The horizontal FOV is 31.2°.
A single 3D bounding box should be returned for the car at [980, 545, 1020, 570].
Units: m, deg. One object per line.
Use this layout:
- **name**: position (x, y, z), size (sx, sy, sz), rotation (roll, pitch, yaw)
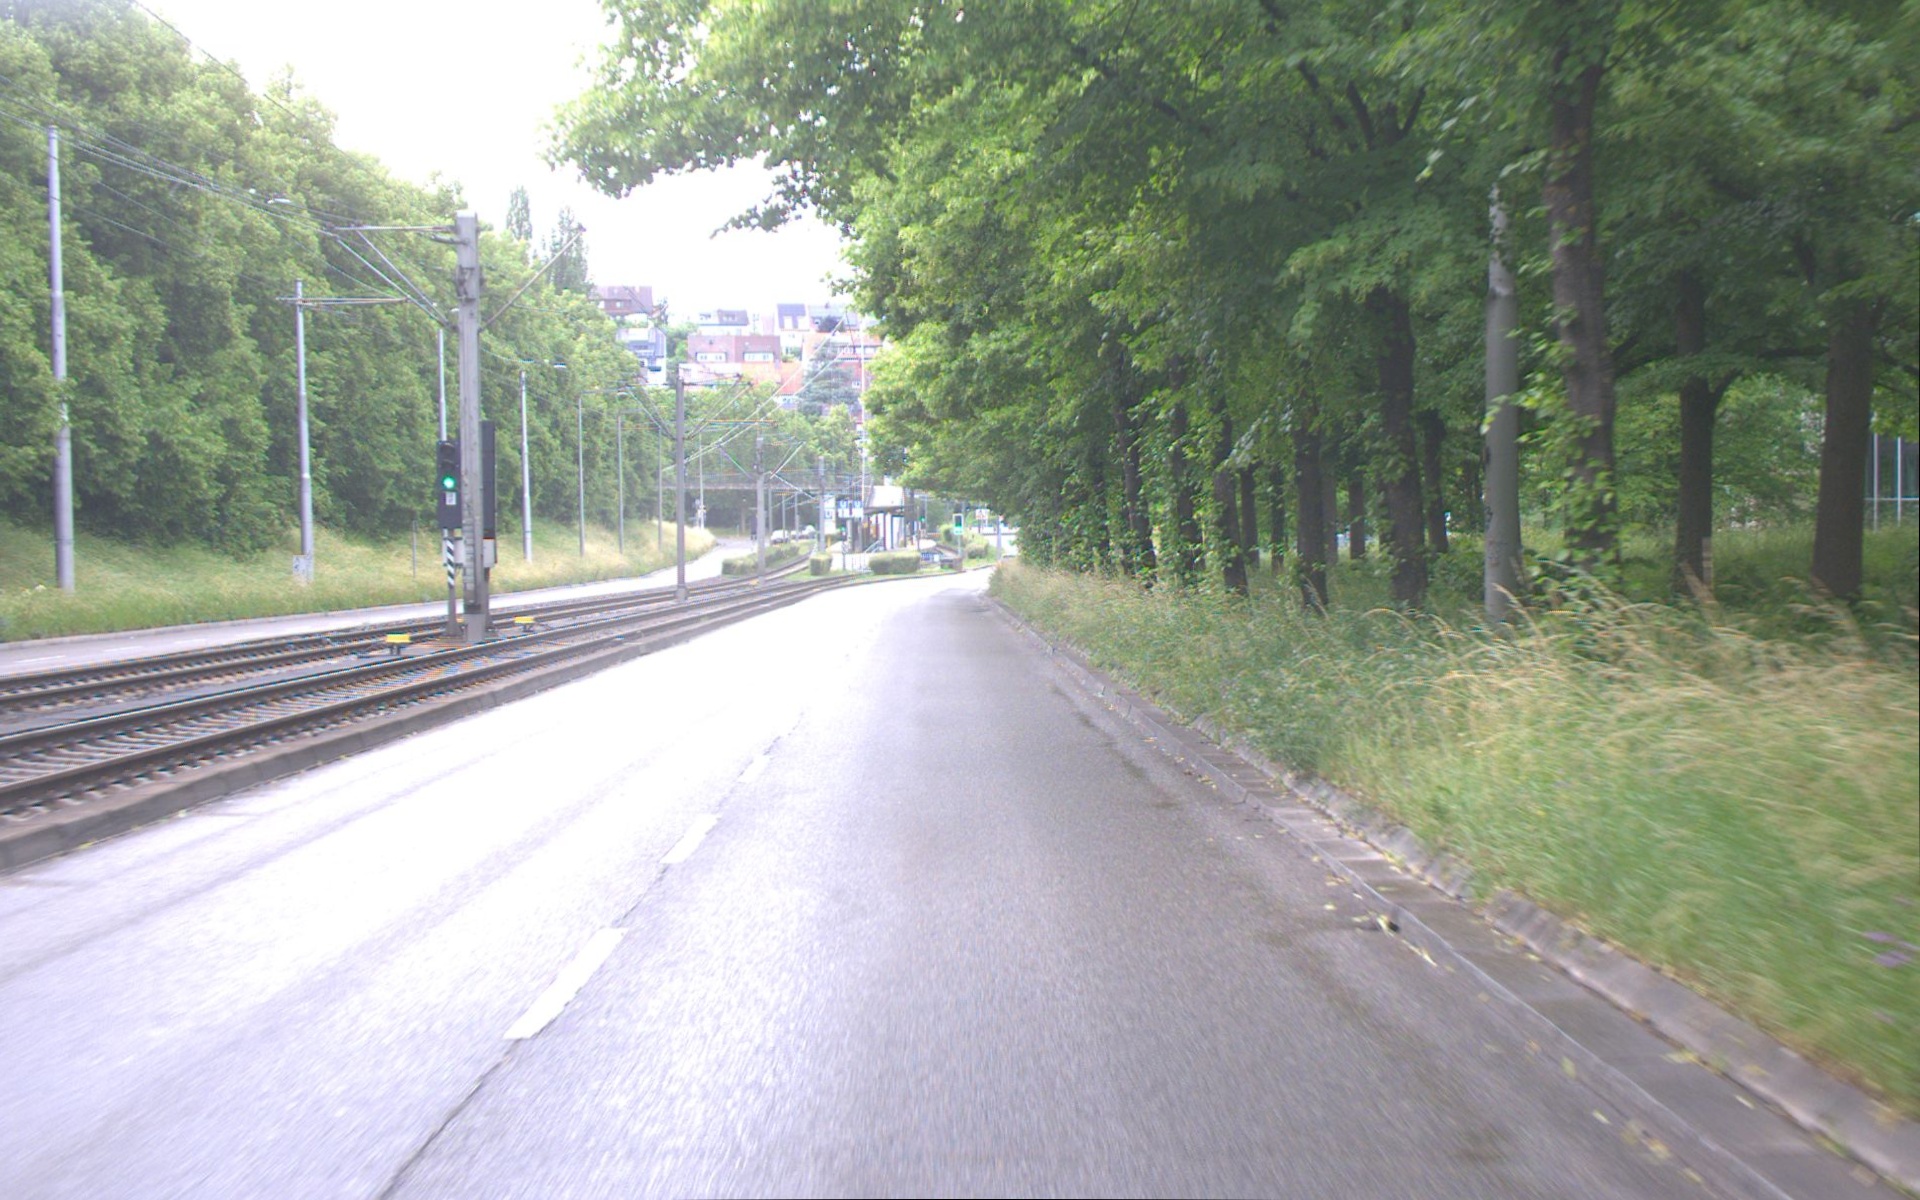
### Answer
- **car**: position (2.262, -2.398, 194.699), size (2.194, 1.325, 4.000), rotation (0, 2, -1)
